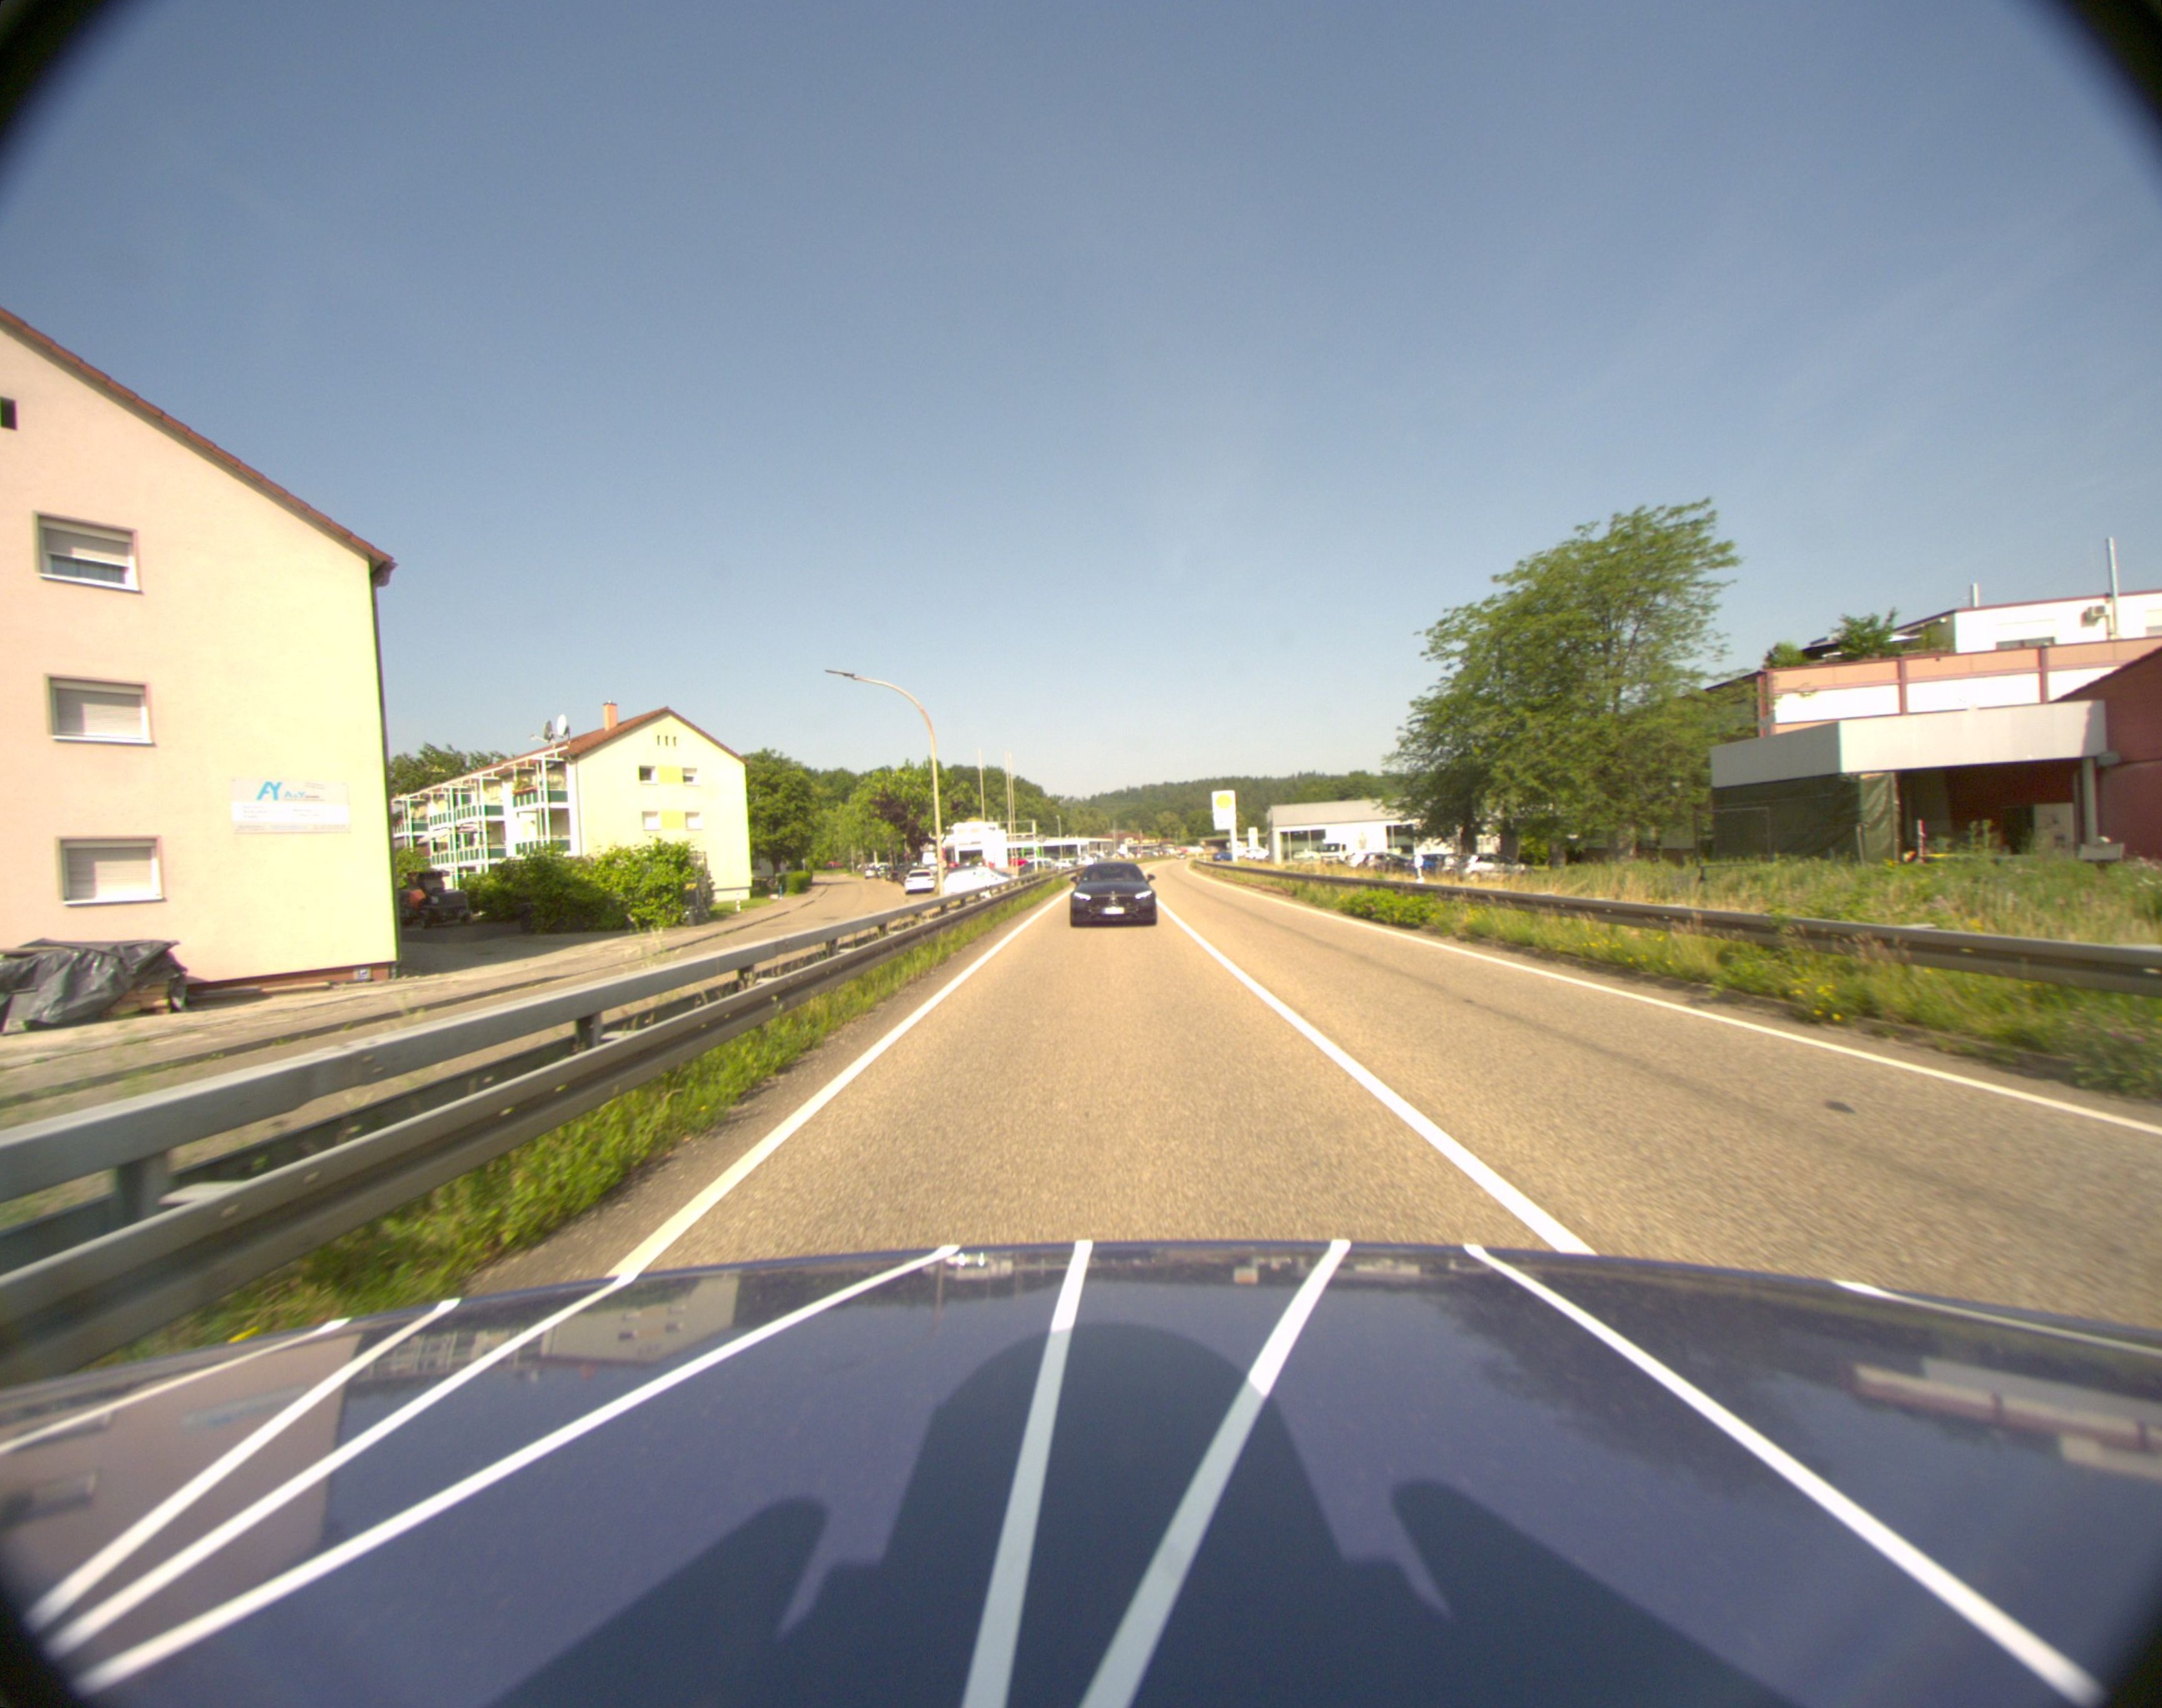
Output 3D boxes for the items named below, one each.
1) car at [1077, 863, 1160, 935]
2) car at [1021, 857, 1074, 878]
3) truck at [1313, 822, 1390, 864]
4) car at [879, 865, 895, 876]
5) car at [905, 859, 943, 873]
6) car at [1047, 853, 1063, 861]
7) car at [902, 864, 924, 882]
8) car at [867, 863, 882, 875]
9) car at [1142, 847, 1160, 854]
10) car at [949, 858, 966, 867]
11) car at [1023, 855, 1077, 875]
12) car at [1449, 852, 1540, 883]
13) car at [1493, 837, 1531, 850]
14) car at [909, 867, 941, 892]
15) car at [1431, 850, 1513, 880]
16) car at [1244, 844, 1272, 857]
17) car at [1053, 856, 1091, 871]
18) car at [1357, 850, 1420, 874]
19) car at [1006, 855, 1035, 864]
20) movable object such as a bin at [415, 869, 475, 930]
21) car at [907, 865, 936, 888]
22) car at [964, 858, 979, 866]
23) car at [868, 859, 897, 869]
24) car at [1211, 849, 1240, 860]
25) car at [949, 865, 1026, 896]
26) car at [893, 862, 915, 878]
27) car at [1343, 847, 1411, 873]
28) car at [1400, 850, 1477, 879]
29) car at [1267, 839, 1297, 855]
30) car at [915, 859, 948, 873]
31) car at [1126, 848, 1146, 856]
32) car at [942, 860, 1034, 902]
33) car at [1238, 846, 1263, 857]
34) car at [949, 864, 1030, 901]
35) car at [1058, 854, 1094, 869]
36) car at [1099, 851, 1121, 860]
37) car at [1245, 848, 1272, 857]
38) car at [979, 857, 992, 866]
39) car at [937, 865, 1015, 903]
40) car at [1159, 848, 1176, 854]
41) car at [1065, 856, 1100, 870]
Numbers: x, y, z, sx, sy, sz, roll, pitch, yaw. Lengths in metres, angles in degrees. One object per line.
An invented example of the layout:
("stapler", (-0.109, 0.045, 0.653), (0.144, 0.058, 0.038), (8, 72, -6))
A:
("car", (0.787, 0.980, 18.157), (1.716, 1.382, 4.146), (-1, 1, 0))
("car", (-2.892, 1.154, 65.508), (4.157, 1.474, 1.883), (-4, 1, 11))
("truck", (24.706, -1.053, 69.228), (8.227, 3.536, 2.799), (-3, 0, -41))
("car", (-23.616, 1.957, 92.395), (1.595, 1.179, 3.656), (-2, 1, -19))
("car", (-19.570, 1.505, 94.756), (4.499, 1.591, 1.839), (-2, 1, -15))
("car", (-5.324, 0.531, 155.005), (1.933, 1.556, 4.743), (-2, 1, -19))
("car", (-14.687, 1.631, 66.321), (1.657, 1.358, 3.657), (-2, 1, -15))
("car", (-26.544, 1.902, 97.633), (1.788, 1.466, 3.983), (-2, 1, -15))
("car", (16.920, -0.792, 184.476), (3.991, 1.622, 1.924), (-2, 1, 22))
("car", (-24.862, 1.666, 153.069), (2.000, 1.537, 4.613), (-1, 1, 9))
("car", (-2.799, 1.013, 68.657), (4.324, 1.630, 2.142), (-2, 1, 17))
("car", (21.635, 0.691, 39.864), (3.755, 1.452, 1.862), (-2, 1, 4))
("car", (42.517, -1.059, 75.092), (1.726, 1.192, 4.001), (-2, 0, 6))
("car", (-9.606, 1.546, 46.969), (1.789, 1.411, 4.435), (-2, 0, -10))
("car", (22.111, 0.623, 43.123), (3.753, 1.491, 1.859), (-3, 1, 11))
("car", (32.160, -0.614, 138.505), (4.800, 1.969, 2.231), (-4, 0, 12))
("car", (-0.963, 1.069, 84.173), (3.994, 1.513, 1.699), (-2, 1, 9))
("car", (22.184, 0.565, 54.885), (3.756, 1.491, 1.932), (-3, 1, 3))
("car", (-10.916, 0.955, 137.320), (4.743, 1.556, 1.933), (-1, 1, 15))
("movable object such as a bin", (-27.390, 1.907, 32.684), (1.587, 2.345, 3.524), (-7, 4, -43))
("car", (-11.147, 1.520, 52.882), (1.710, 1.397, 4.478), (-2, 1, -15))
("car", (-22.033, 1.576, 152.652), (2.001, 1.537, 4.611), (-1, 1, 4))
("car", (-33.085, 1.668, 126.719), (4.754, 1.625, 1.929), (-1, 1, -14))
("car", (23.238, 0.084, 122.489), (4.238, 1.498, 1.981), (-2, 0, -28))
("car", (-5.163, 1.436, 41.884), (4.071, 1.444, 1.727), (-2, 1, -11))
("car", (-17.337, 1.571, 74.347), (1.915, 1.397, 4.518), (-2, 1, -15))
("car", (22.433, 0.441, 57.670), (4.360, 1.645, 1.932), (-3, 1, 3))
("car", (21.640, 0.615, 46.162), (3.755, 1.491, 1.932), (-3, 1, 5))
("car", (40.388, -1.464, 152.907), (5.730, 2.729, 2.287), (-4, 0, 13))
("car", (-17.935, 1.474, 91.111), (3.768, 1.513, 1.654), (-2, 1, -17))
("car", (12.101, -0.353, 166.808), (3.882, 1.654, 1.842), (-1, 1, 22))
("car", (-4.546, 1.292, 37.302), (4.246, 1.563, 1.917), (-6, 1, -8))
("car", (33.248, -0.564, 149.418), (4.679, 1.846, 2.145), (-4, 0, 12))
("car", (-4.726, 1.443, 39.498), (3.998, 1.441, 1.764), (-6, 1, -5))
("car", (-0.584, 0.881, 86.922), (3.854, 1.559, 1.808), (-2, 1, 9))
("car", (5.771, 0.348, 152.003), (4.083, 1.600, 1.794), (-2, 1, 11))
("car", (31.134, -0.254, 133.250), (4.236, 1.395, 1.894), (-3, 1, -28))
("car", (-19.218, 1.484, 152.456), (2.002, 1.537, 4.609), (-1, 1, 0))
("car", (-4.696, 1.325, 34.196), (3.274, 1.368, 1.548), (-5, 2, -7))
("car", (22.853, -0.841, 200.919), (4.043, 1.499, 1.808), (-1, 1, 20))
("car", (0.175, 1.098, 92.197), (3.995, 1.571, 1.779), (-2, 1, 5))
